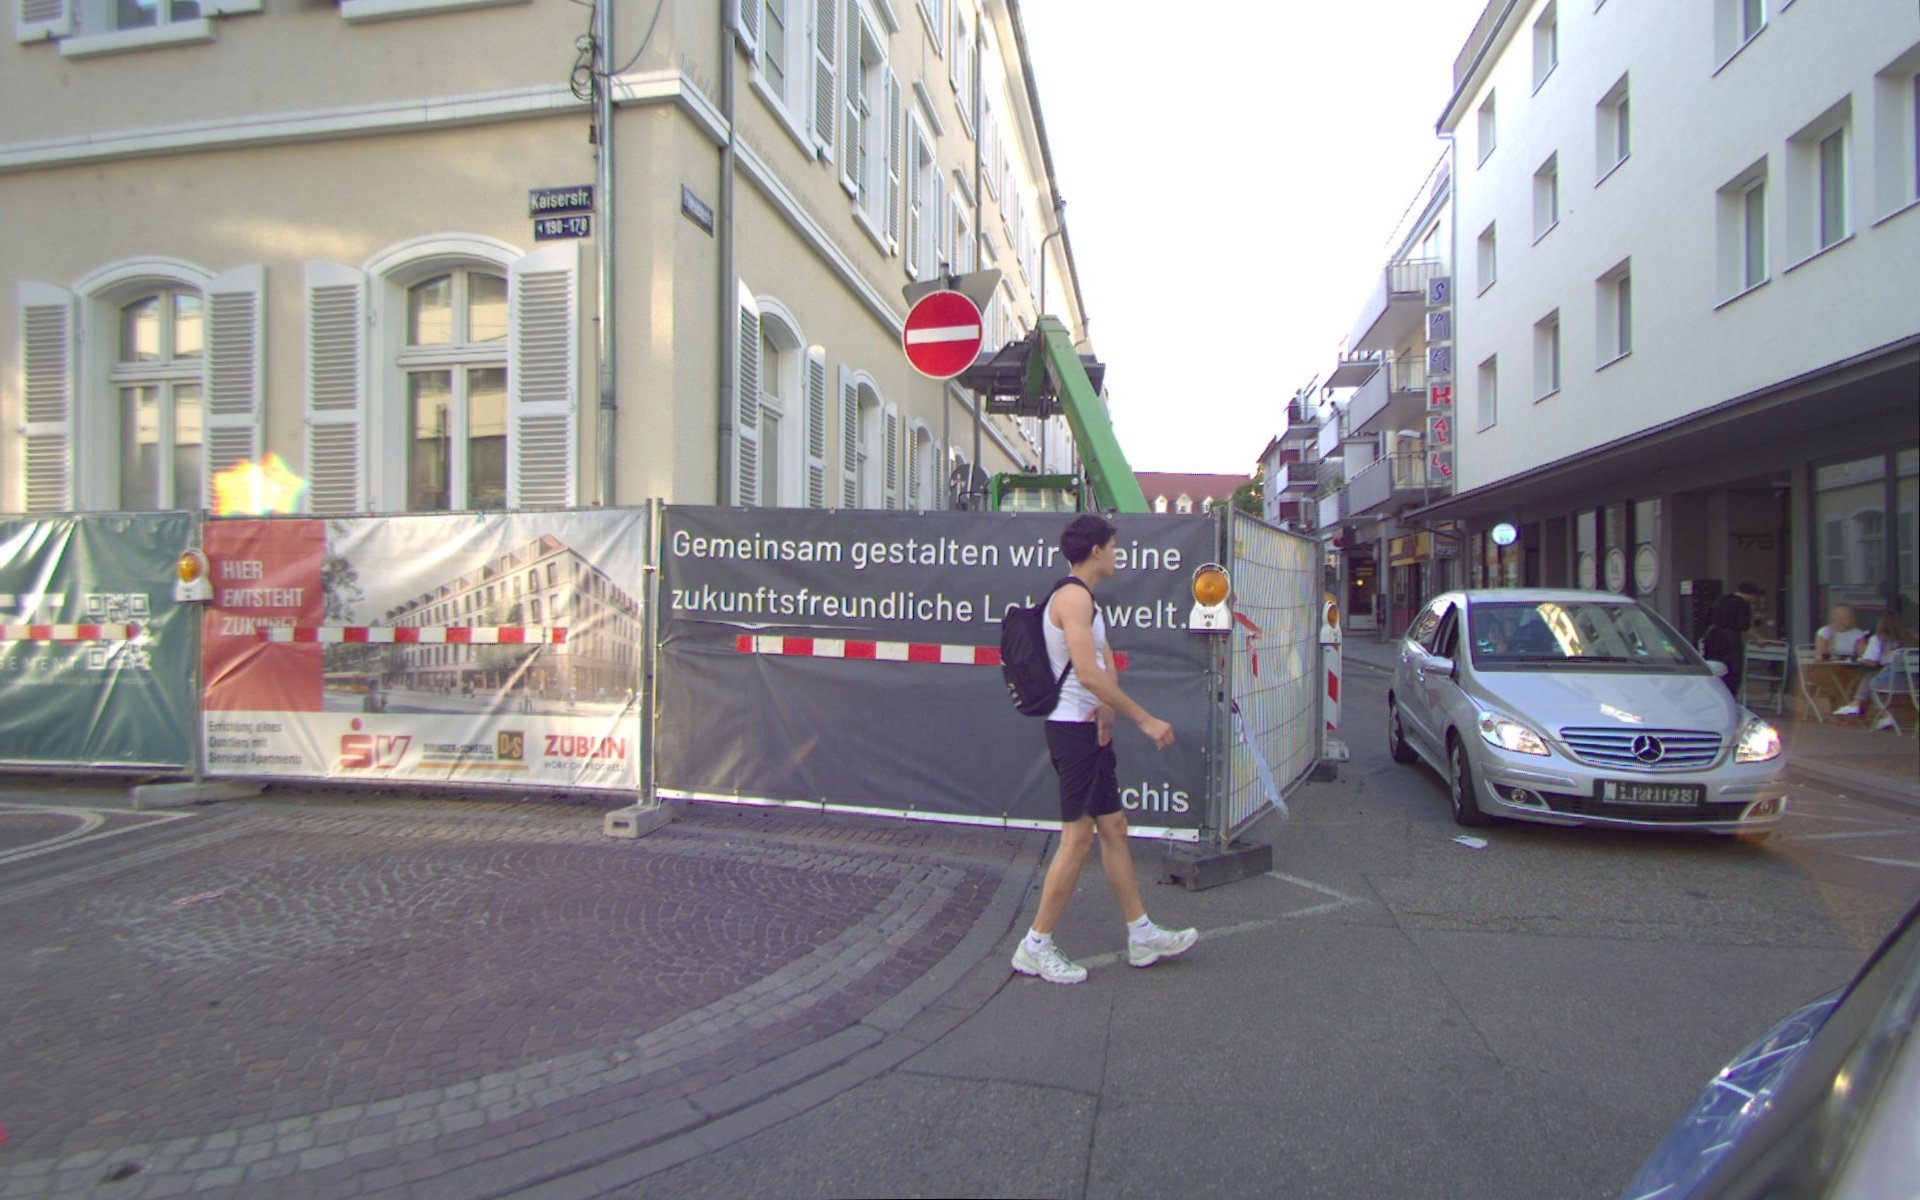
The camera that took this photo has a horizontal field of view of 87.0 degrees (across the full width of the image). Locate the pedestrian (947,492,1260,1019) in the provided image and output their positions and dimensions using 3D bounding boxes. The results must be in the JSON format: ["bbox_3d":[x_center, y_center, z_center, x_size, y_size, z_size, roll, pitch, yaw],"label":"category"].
[{"bbox_3d":[0.612,0.549,4.106,1.059,1.842,0.800,-2,0,21],"label":"pedestrian"}]

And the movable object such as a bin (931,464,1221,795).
[{"bbox_3d":[1.432,0.226,11.230,2.573,2.875,4.434,1,0,12],"label":"movable object such as a bin"}]

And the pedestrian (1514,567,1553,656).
[{"bbox_3d":[12.158,0.235,21.466,0.522,1.858,0.562,0,-1,6],"label":"pedestrian"}]

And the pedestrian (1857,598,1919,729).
[{"bbox_3d":[9.916,0.640,10.510,0.566,1.292,0.711,-2,-1,12],"label":"pedestrian"}]

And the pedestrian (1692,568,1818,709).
[{"bbox_3d":[9.978,0.473,12.737,0.885,1.689,0.799,-2,0,0],"label":"pedestrian"}]

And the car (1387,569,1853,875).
[{"bbox_3d":[4.523,0.669,7.751,1.780,1.638,4.250,1,-1,16],"label":"car"}]

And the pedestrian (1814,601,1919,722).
[{"bbox_3d":[10.093,0.663,11.273,0.566,1.292,0.711,-2,-1,12],"label":"pedestrian"}]

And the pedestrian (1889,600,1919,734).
[{"bbox_3d":[9.615,0.639,9.725,0.693,1.292,0.711,-2,-1,12],"label":"pedestrian"}]
